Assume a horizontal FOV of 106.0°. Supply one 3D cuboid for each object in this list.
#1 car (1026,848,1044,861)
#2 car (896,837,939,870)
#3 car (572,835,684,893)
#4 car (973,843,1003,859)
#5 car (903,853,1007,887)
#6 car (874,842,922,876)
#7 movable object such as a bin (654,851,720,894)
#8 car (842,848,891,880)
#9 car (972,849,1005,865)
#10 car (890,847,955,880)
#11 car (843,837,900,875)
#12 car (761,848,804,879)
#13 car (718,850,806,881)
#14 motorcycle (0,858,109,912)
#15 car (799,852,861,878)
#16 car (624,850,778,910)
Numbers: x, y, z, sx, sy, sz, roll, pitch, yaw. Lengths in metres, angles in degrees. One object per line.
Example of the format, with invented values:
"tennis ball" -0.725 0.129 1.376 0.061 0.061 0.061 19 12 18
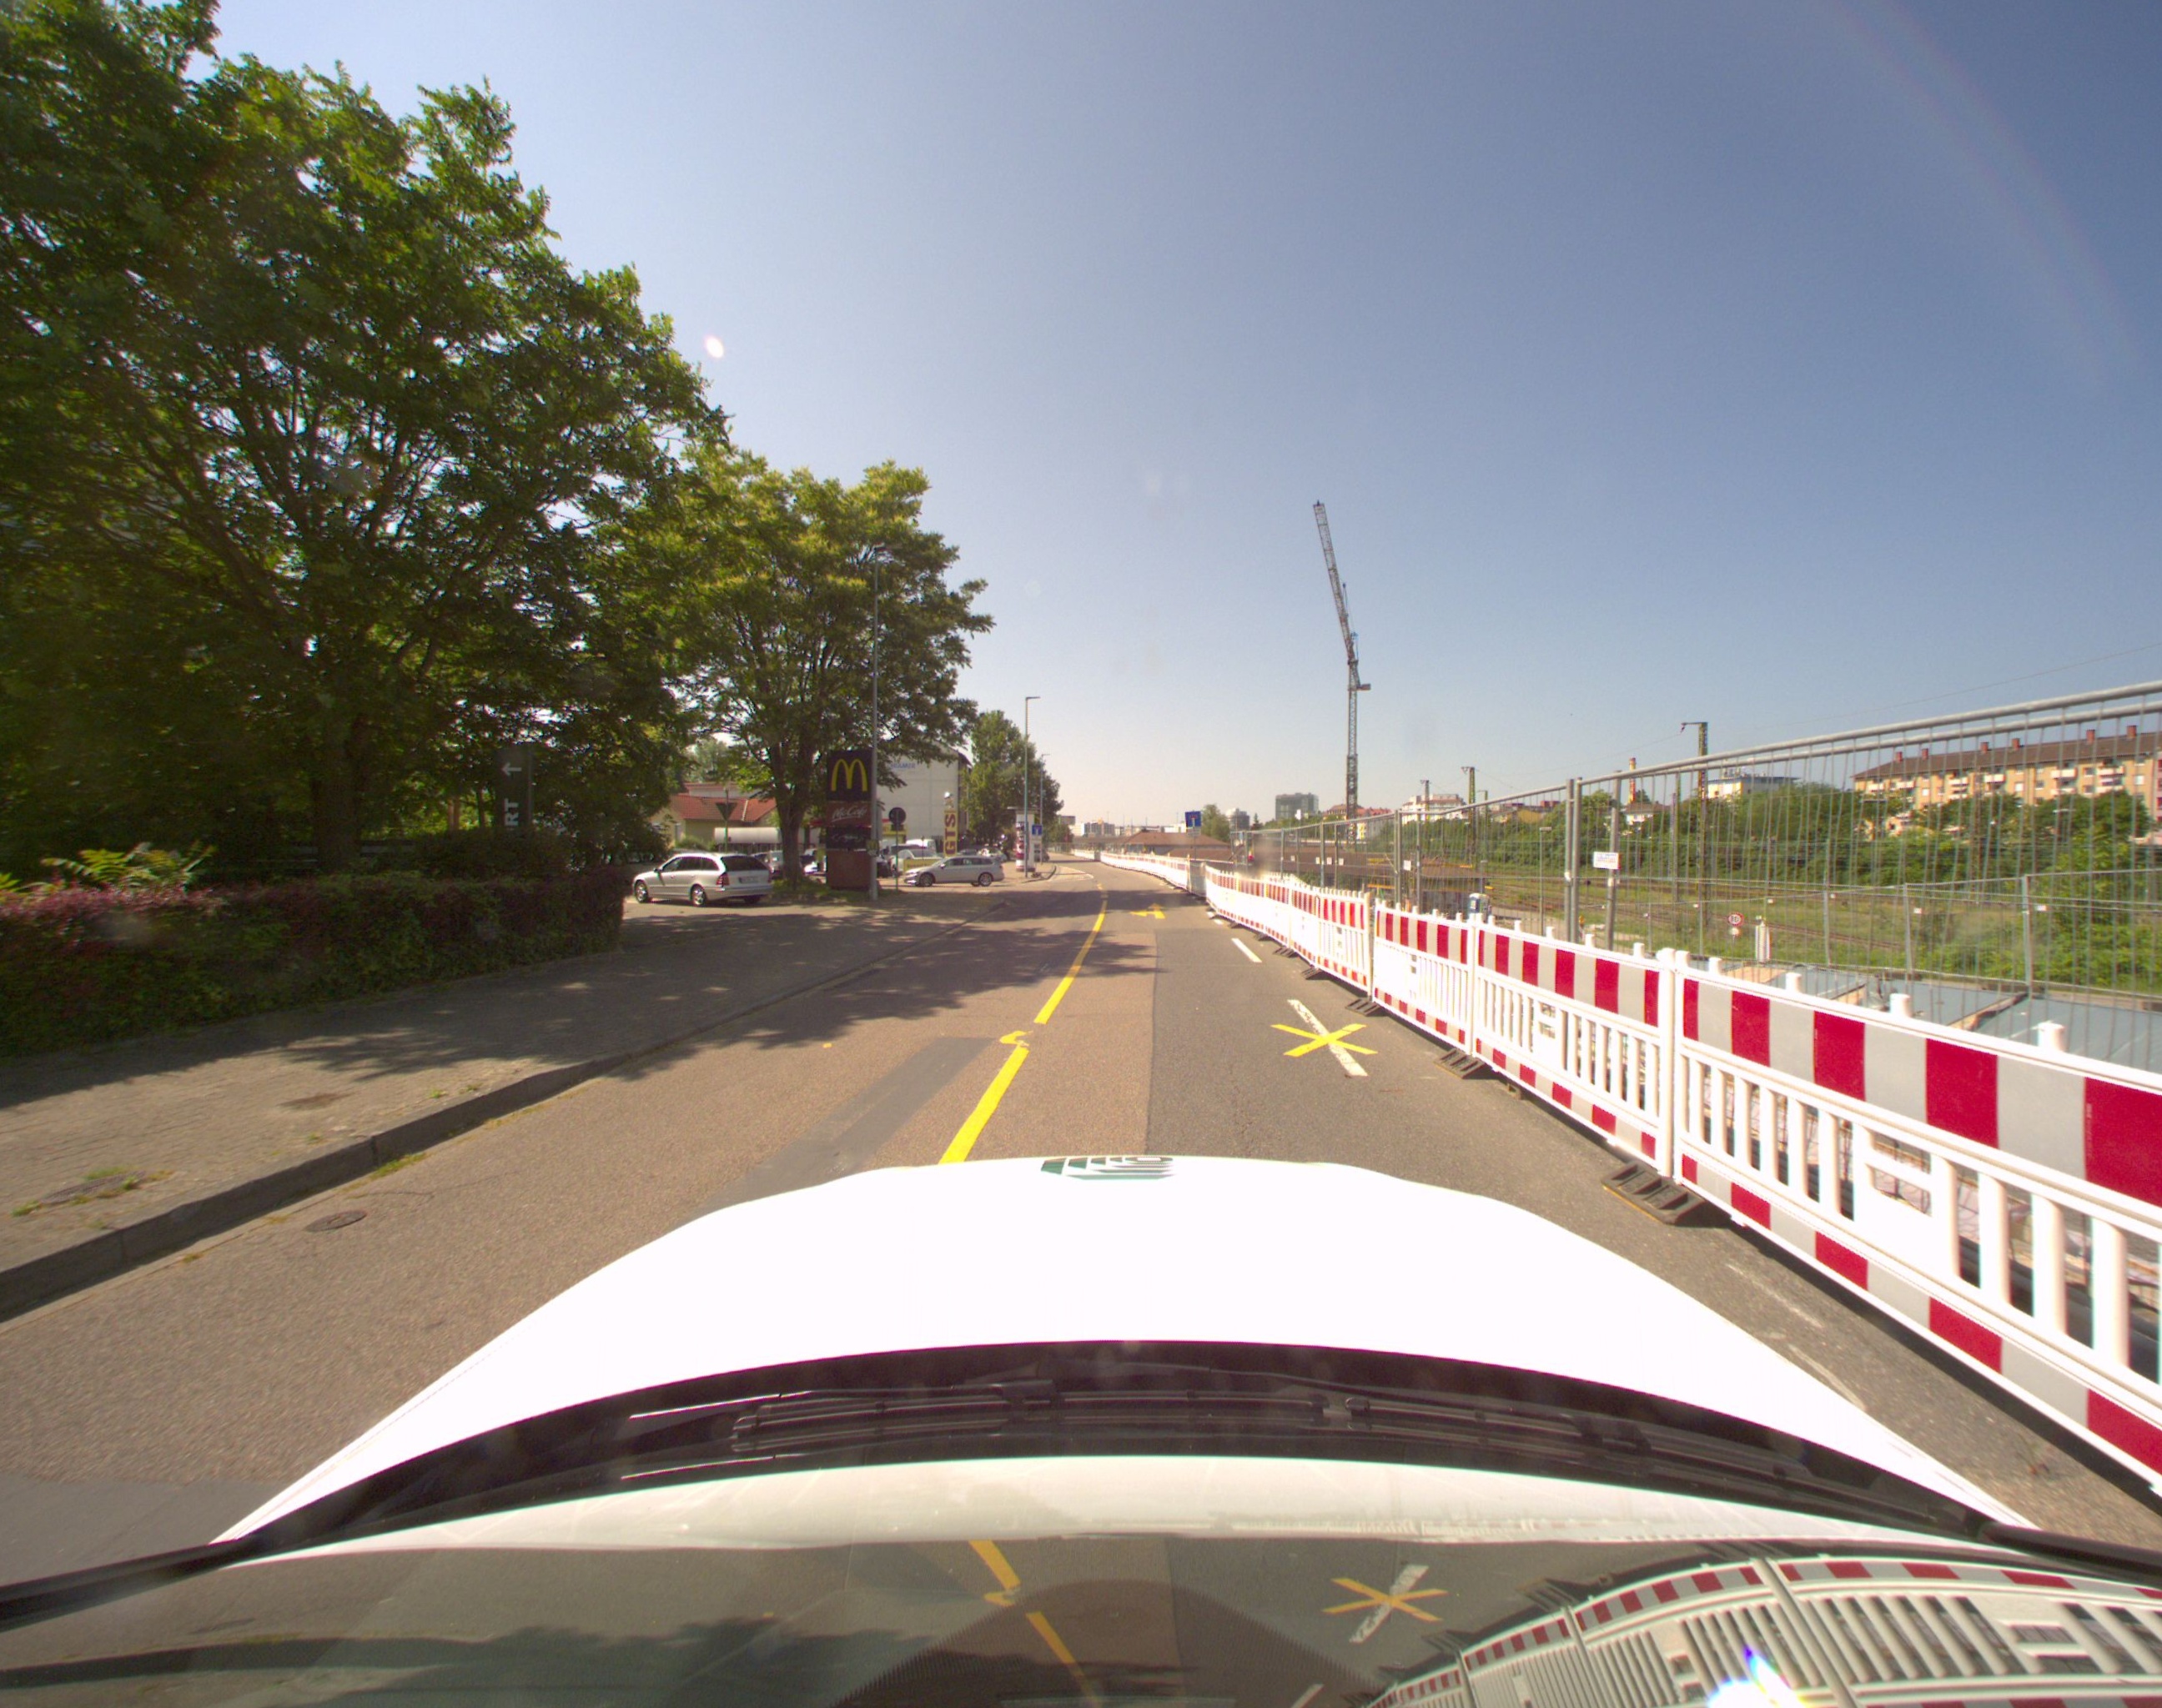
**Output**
"car" -5.470 0.045 97.073 1.862 1.498 4.033 -1 1 1
"car" -13.203 -0.009 66.160 2.239 2.430 5.716 3 -1 -1
"car" -17.094 0.399 30.665 4.466 1.920 1.905 -3 1 36
"car" -12.420 -0.400 108.820 3.923 1.958 1.753 1 0 -10
"car" -5.955 0.721 38.600 4.614 1.493 1.669 -1 0 -26
"car" -13.315 0.394 59.472 2.237 2.350 4.826 -1 -1 2
"movable object such as a bin" -15.665 0.729 32.408 1.754 1.526 1.464 -2 2 23
"car" -12.408 0.605 46.909 2.052 1.707 4.279 -1 -1 -24
"car" -9.293 0.284 81.516 1.787 1.473 3.961 -3 1 -30
"car" -9.512 0.567 48.639 1.991 1.707 4.611 -2 -2 -37
"car" -15.934 0.152 62.363 2.266 2.758 6.161 -1 0 5
"car" -17.491 0.547 47.645 1.815 1.656 4.277 -2 1 -27
"car" -20.818 0.712 53.240 4.917 1.842 2.137 -1 0 -40
"motorcycle" -22.500 0.655 17.399 2.185 1.131 0.565 1 0 -23
"car" -16.468 0.697 53.755 1.896 1.574 4.702 0 1 11
"car" -10.286 0.625 21.950 4.330 1.403 1.725 1 2 33
